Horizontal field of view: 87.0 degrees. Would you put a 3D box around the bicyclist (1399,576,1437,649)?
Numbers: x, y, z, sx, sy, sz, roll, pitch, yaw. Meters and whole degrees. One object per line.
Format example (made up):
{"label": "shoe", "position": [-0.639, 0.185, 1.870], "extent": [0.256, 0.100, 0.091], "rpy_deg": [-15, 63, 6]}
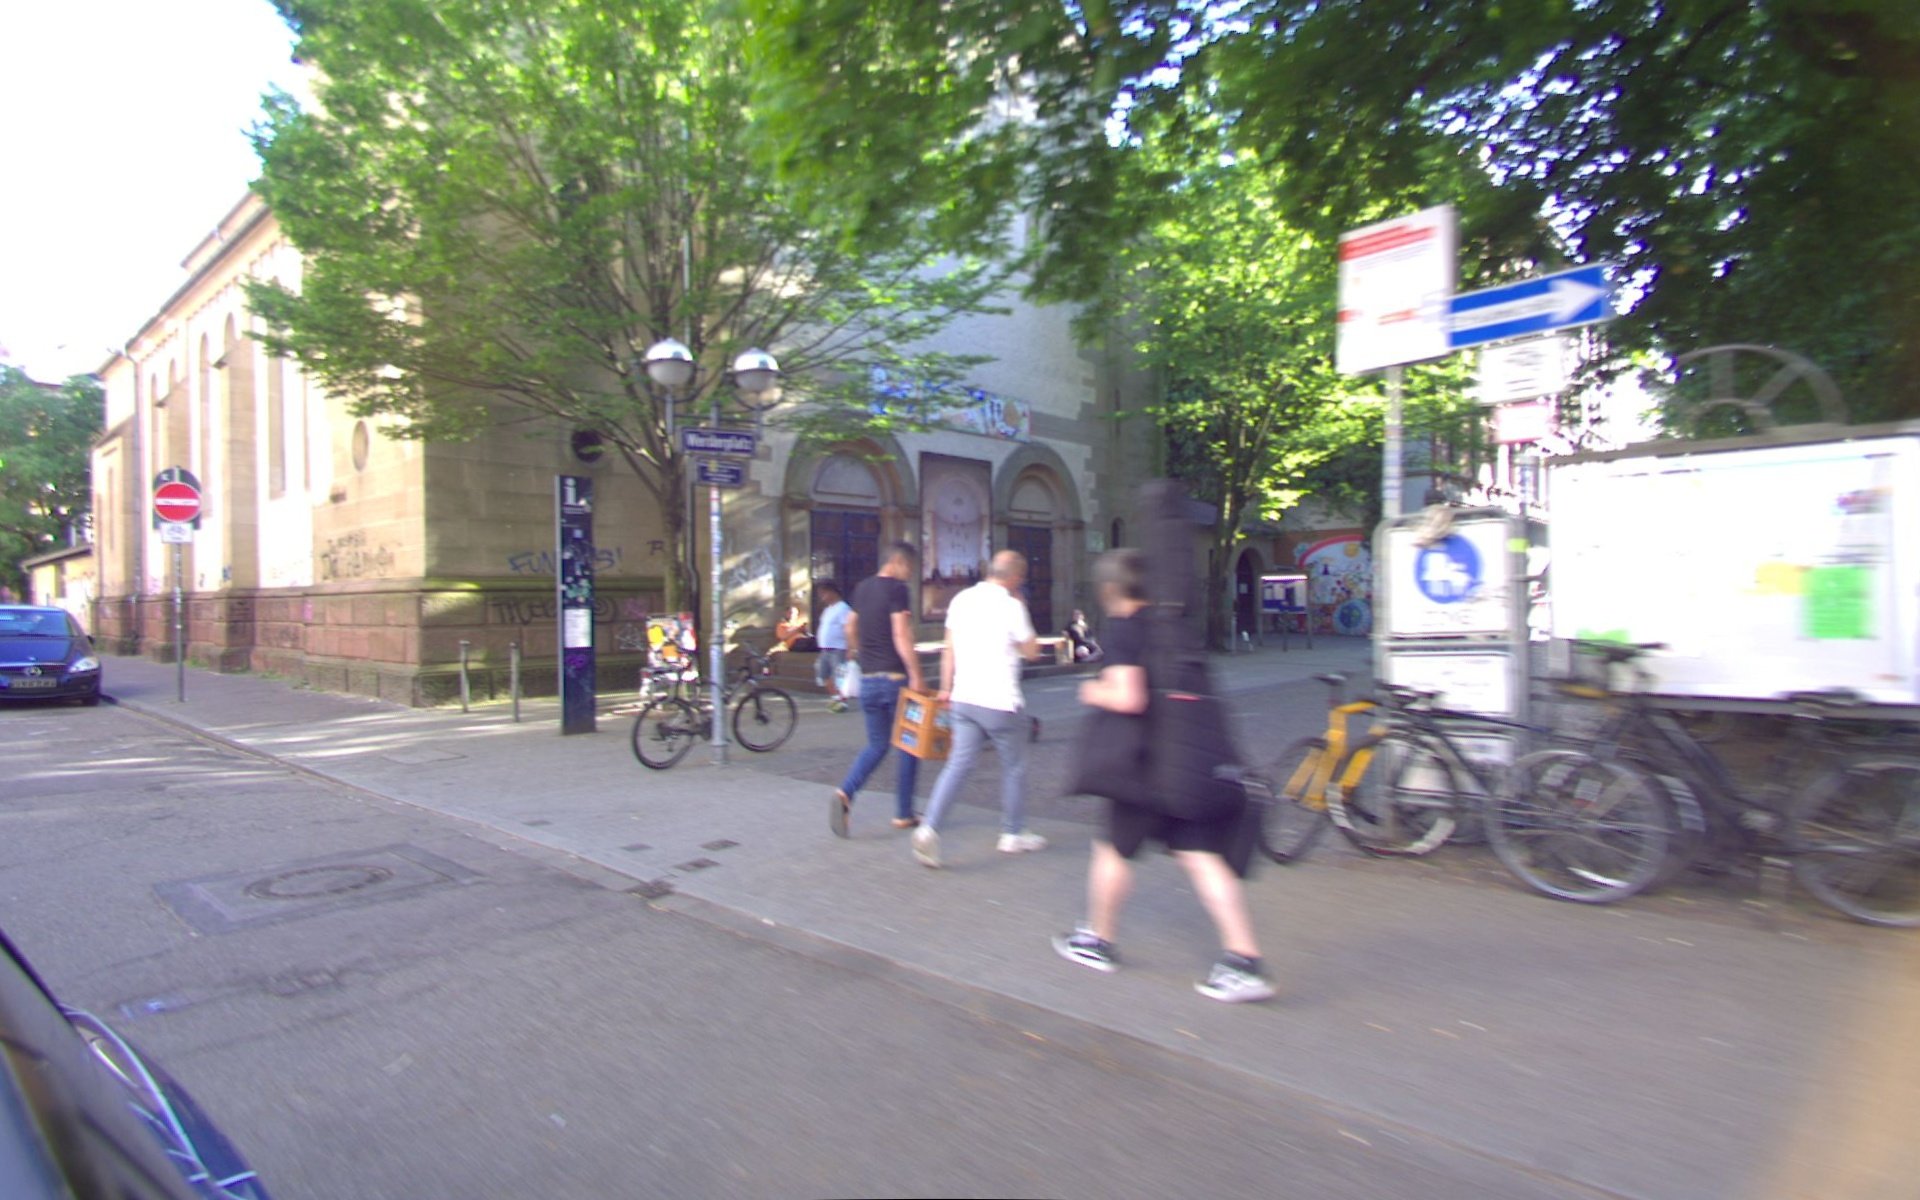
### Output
{"label": "bicyclist", "position": [11.356, 0.301, 25.100], "extent": [0.672, 1.775, 0.505], "rpy_deg": [-1, 1, -9]}

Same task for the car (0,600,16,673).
{"label": "car", "position": [-22.954, 0.816, 23.147], "extent": [4.000, 1.579, 1.701], "rpy_deg": [0, 2, 43]}

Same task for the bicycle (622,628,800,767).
{"label": "bicycle", "position": [-2.219, 0.836, 9.208], "extent": [0.346, 1.073, 1.672], "rpy_deg": [0, 2, 40]}

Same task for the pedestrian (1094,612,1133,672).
{"label": "pedestrian", "position": [2.979, 0.809, 19.633], "extent": [0.490, 1.116, 0.608], "rpy_deg": [0, 1, 41]}

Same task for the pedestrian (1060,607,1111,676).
{"label": "pedestrian", "position": [2.381, 0.768, 19.166], "extent": [0.741, 1.241, 0.607], "rpy_deg": [0, 1, 41]}

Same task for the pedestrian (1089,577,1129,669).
{"label": "pedestrian", "position": [2.709, 0.407, 18.384], "extent": [0.548, 1.644, 0.555], "rpy_deg": [0, 1, 30]}

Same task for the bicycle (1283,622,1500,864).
{"label": "bicycle", "position": [2.360, 0.699, 5.450], "extent": [1.553, 1.090, 0.347], "rpy_deg": [-2, 1, -37]}

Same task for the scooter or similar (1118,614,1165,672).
{"label": "scooter or similar", "position": [3.380, 0.794, 18.847], "extent": [0.721, 1.013, 0.506], "rpy_deg": [-2, 1, -37]}

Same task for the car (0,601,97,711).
{"label": "car", "position": [-15.303, 0.828, 16.216], "extent": [3.834, 1.563, 1.775], "rpy_deg": [0, 2, 43]}

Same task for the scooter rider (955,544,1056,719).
{"label": "scooter rider", "position": [0.455, 0.290, 10.063], "extent": [0.720, 1.660, 0.680], "rpy_deg": [0, 1, 41]}

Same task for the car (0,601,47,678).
{"label": "car", "position": [-19.229, 0.747, 19.910], "extent": [4.147, 1.374, 1.555], "rpy_deg": [0, 2, 44]}

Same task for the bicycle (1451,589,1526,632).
{"label": "bicycle", "position": [16.005, 0.312, 30.683], "extent": [1.927, 1.276, 0.517], "rpy_deg": [0, 2, 42]}

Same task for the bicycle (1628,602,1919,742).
{"label": "bicycle", "position": [6.954, 0.601, 8.736], "extent": [1.936, 1.099, 0.226], "rpy_deg": [-3, 0, 42]}

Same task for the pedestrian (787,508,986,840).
{"label": "pedestrian", "position": [-0.454, 0.402, 6.196], "extent": [1.002, 1.838, 0.686], "rpy_deg": [0, 1, 40]}

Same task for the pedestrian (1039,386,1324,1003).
{"label": "pedestrian", "position": [0.793, 0.282, 3.597], "extent": [0.720, 1.887, 0.709], "rpy_deg": [0, 1, 42]}

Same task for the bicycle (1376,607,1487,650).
{"label": "bicycle", "position": [11.852, 0.702, 25.433], "extent": [2.721, 0.997, 0.489], "rpy_deg": [-1, 1, -9]}

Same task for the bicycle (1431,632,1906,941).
{"label": "bicycle", "position": [2.873, 0.687, 4.253], "extent": [1.578, 1.090, 0.289], "rpy_deg": [-2, 0, 42]}

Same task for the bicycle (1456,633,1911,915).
{"label": "bicycle", "position": [3.097, 0.681, 4.473], "extent": [1.578, 1.054, 0.289], "rpy_deg": [-2, 0, 42]}

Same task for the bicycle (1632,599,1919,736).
{"label": "bicycle", "position": [7.118, 0.589, 8.913], "extent": [1.936, 1.099, 0.226], "rpy_deg": [-3, -1, 42]}

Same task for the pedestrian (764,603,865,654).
{"label": "pedestrian", "position": [-2.382, 0.444, 16.549], "extent": [1.406, 0.766, 0.946], "rpy_deg": [0, 2, 42]}

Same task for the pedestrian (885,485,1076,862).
{"label": "pedestrian", "position": [0.117, 0.351, 5.470], "extent": [0.688, 1.849, 0.753], "rpy_deg": [0, 1, 40]}

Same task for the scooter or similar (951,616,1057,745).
{"label": "scooter or similar", "position": [0.451, 0.768, 10.125], "extent": [0.514, 1.169, 1.043], "rpy_deg": [0, 2, 41]}

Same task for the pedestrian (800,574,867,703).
{"label": "pedestrian", "position": [-1.626, 0.477, 12.985], "extent": [0.714, 1.605, 0.474], "rpy_deg": [0, 1, 39]}
